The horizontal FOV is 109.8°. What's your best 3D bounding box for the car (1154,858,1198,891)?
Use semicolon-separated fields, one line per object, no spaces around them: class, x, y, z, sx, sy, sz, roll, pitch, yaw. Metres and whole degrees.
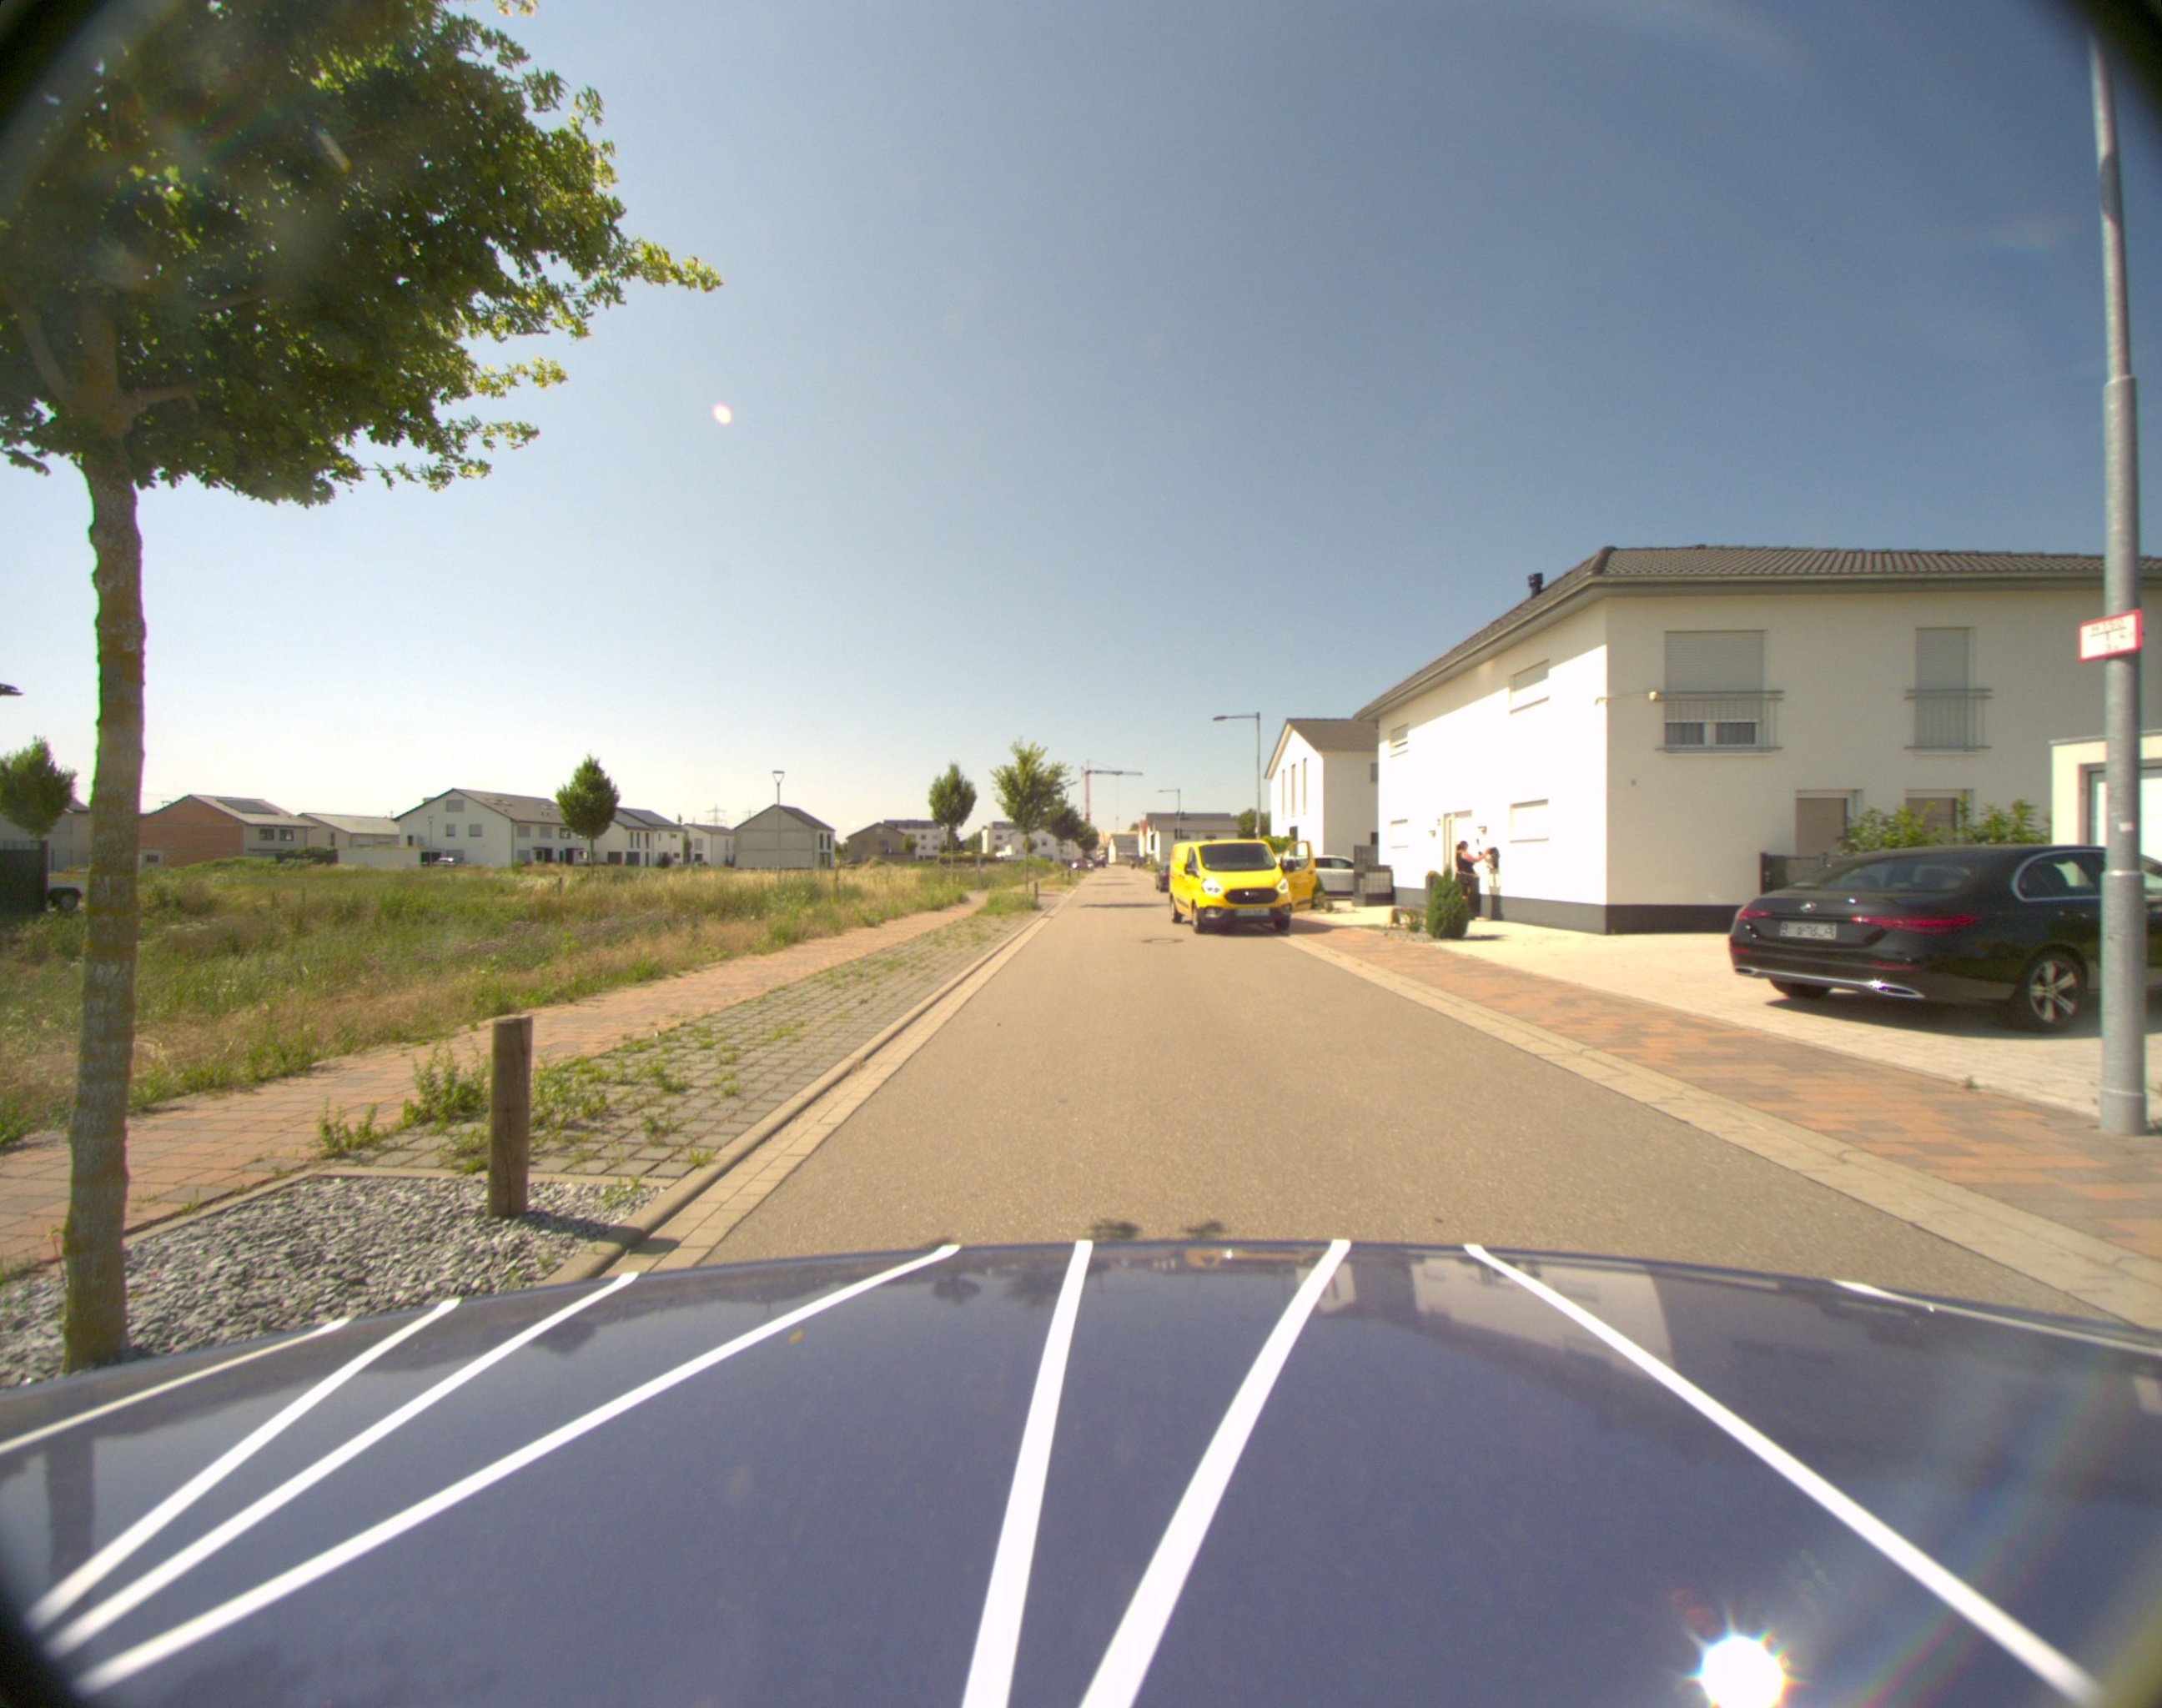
car;4.540;0.947;36.761;1.694;1.464;4.445;-2;0;2

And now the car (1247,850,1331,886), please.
car;11.081;0.737;40.678;3.996;1.841;2.000;0;0;3

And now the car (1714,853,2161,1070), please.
car;8.239;0.761;6.653;4.408;1.444;1.747;-1;0;-11

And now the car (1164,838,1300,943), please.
car;3.189;0.711;17.133;1.889;2.002;4.840;-1;0;-2

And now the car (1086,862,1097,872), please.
car;1.479;1.794;108.519;1.493;1.389;3.273;0;0;2

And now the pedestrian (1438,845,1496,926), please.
pedestrian;8.218;0.659;16.217;0.931;1.675;0.537;-3;0;11

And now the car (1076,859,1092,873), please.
car;0.337;1.386;88.748;1.768;1.483;4.000;0;0;2
